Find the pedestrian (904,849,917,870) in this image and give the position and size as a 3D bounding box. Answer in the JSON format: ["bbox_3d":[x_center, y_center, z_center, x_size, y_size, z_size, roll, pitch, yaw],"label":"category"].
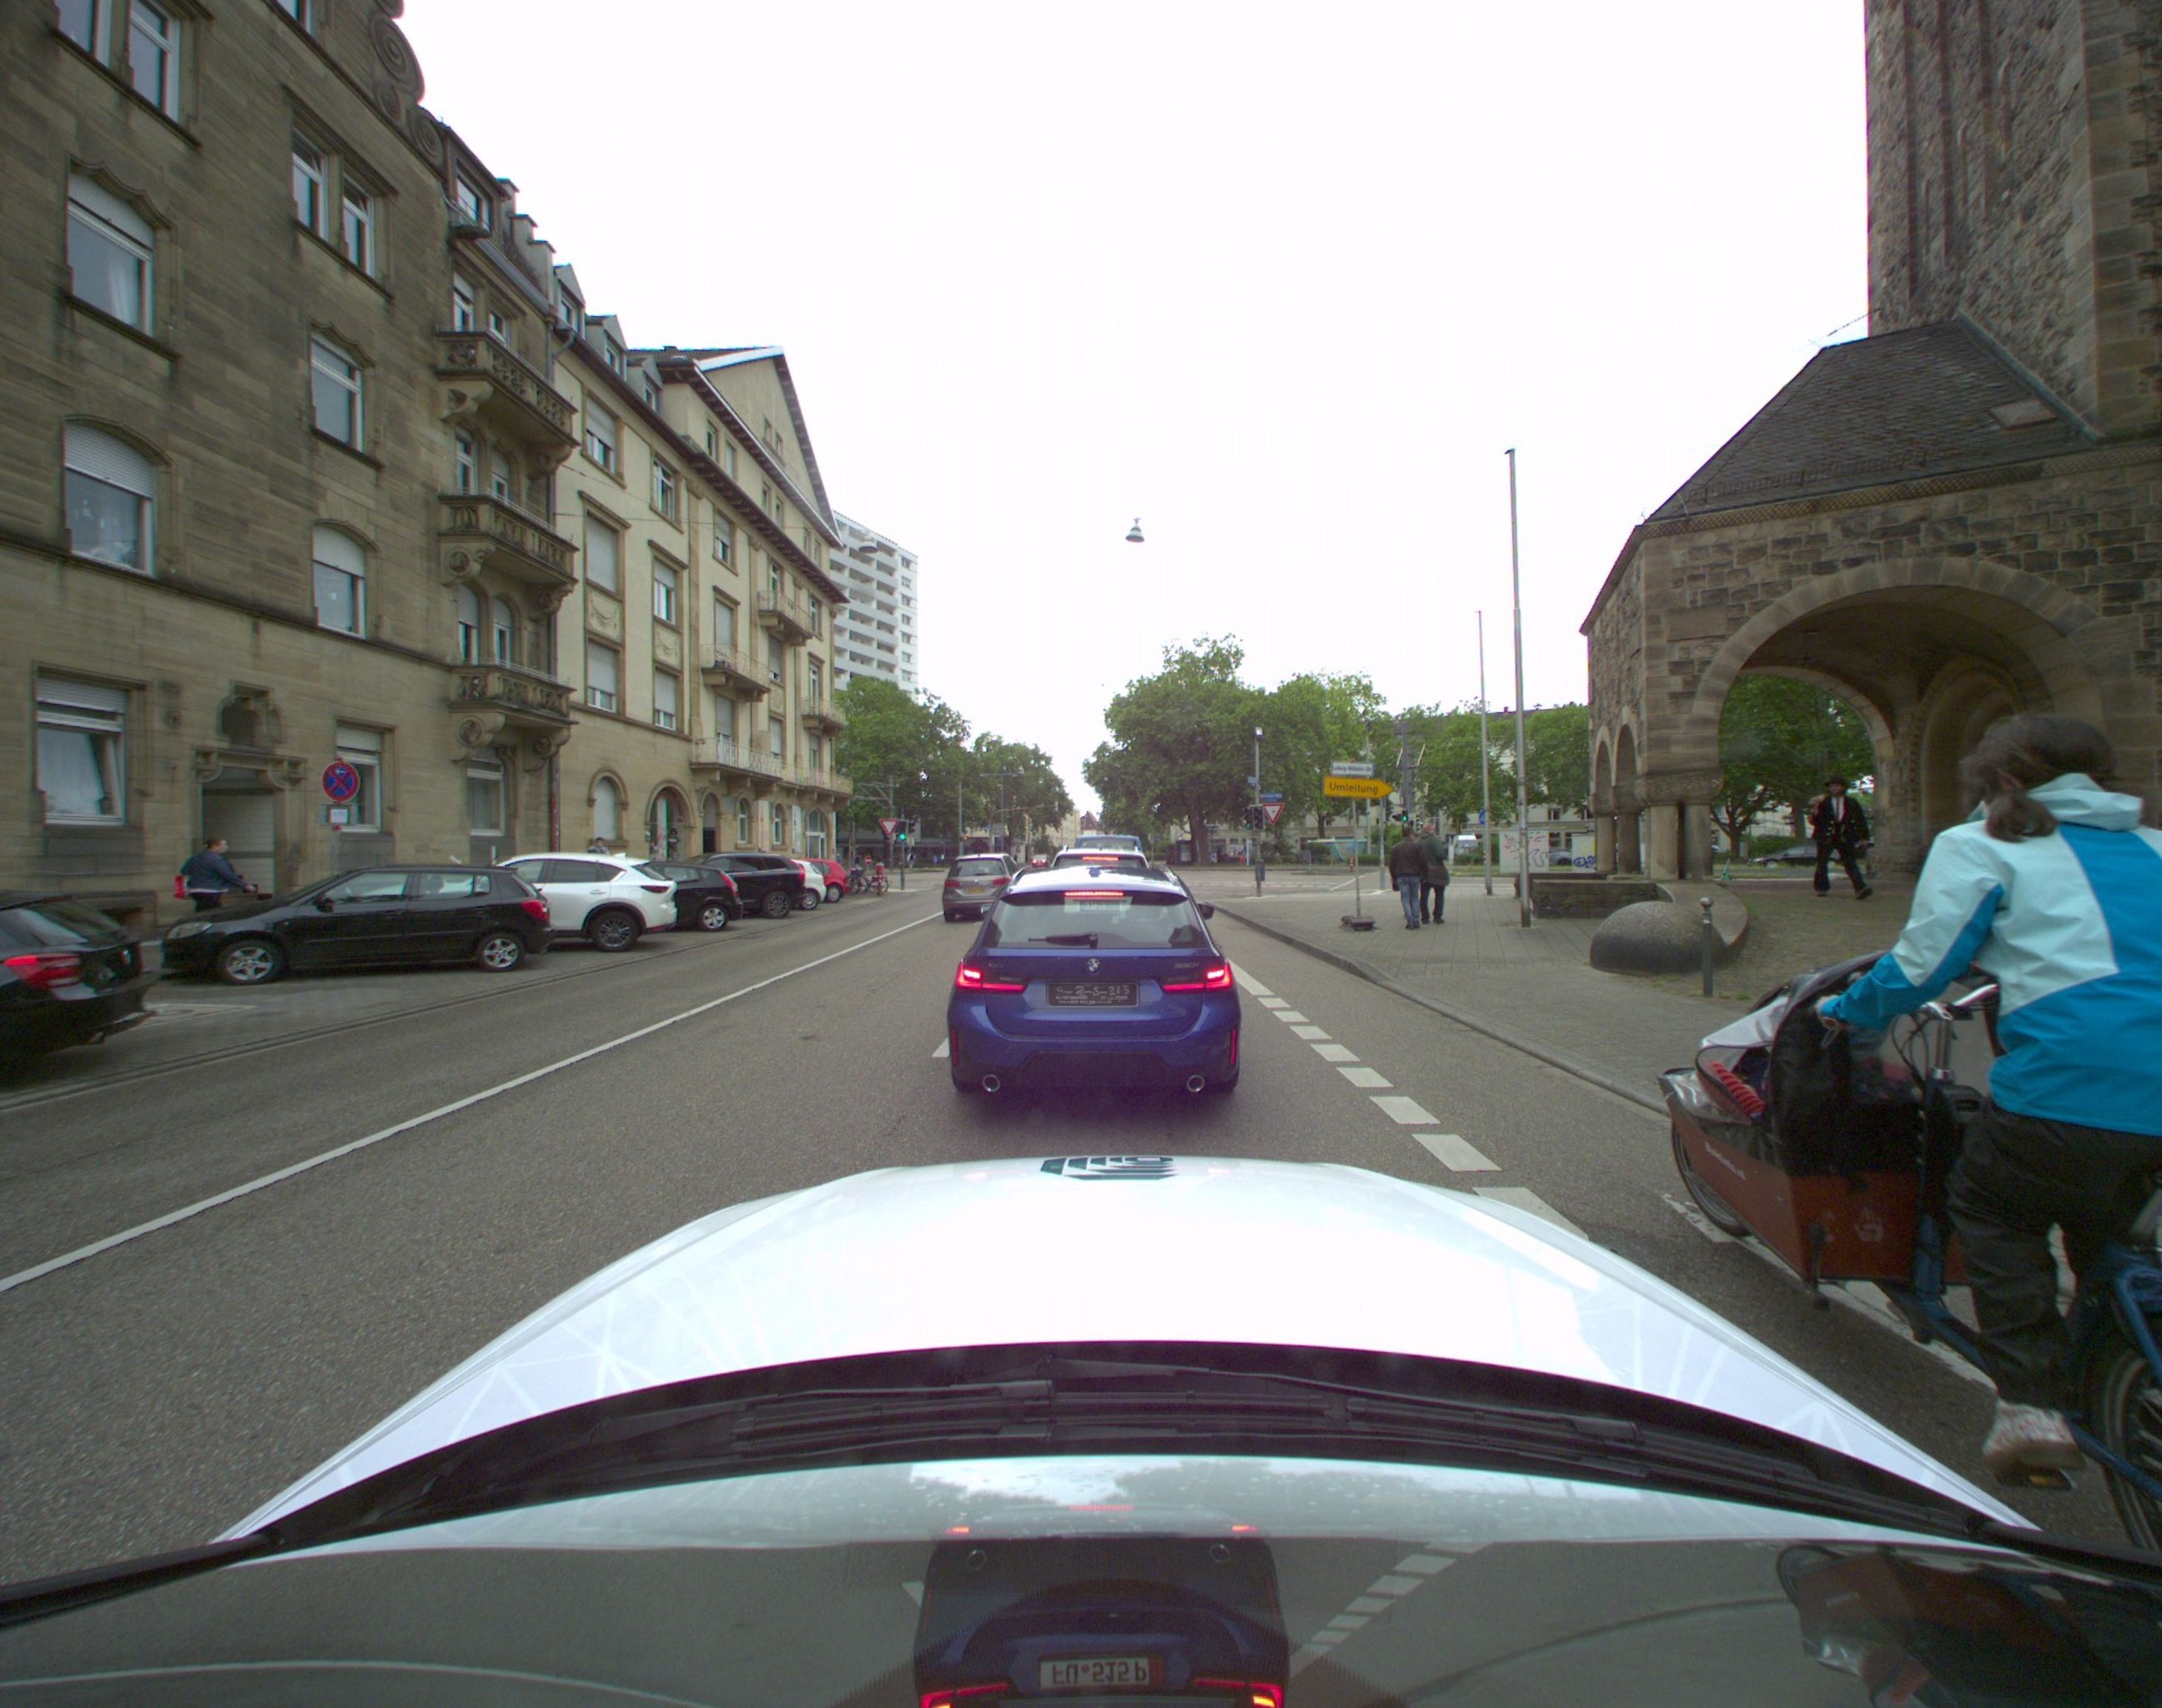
[{"bbox_3d":[-14.457,0.470,69.032,0.668,1.771,0.730,-1,0,43],"label":"pedestrian"}]

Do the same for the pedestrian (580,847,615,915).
[{"bbox_3d":[-12.926,0.709,21.791,0.564,1.785,0.551,-1,0,3],"label":"pedestrian"}]

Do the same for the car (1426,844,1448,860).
[{"bbox_3d":[35.191,-0.215,80.514,1.649,1.515,3.962,-1,0,28],"label":"car"}]

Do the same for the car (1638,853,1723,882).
[{"bbox_3d":[36.581,0.806,49.780,3.901,1.711,1.697,-1,0,24],"label":"car"}]

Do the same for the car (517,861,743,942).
[{"bbox_3d":[-9.462,0.912,17.195,4.017,1.494,1.713,0,0,-36],"label":"car"}]

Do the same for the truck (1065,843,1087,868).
[{"bbox_3d":[-0.471,0.131,81.270,2.068,2.408,5.461,-2,0,0],"label":"truck"}]

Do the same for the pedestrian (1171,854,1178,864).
[{"bbox_3d":[11.808,0.658,102.994,0.850,1.314,0.763,-1,0,1],"label":"pedestrian"}]

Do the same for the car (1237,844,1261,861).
[{"bbox_3d":[22.115,-0.200,107.085,2.154,2.200,4.024,-1,0,26],"label":"car"}]

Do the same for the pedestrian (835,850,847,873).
[{"bbox_3d":[-18.677,0.557,63.370,0.672,1.771,0.726,-1,0,1],"label":"pedestrian"}]

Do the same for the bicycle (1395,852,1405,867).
[{"bbox_3d":[22.987,0.386,58.609,0.546,0.995,2.072,-1,0,24],"label":"bicycle"}]

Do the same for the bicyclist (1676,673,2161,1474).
[{"bbox_3d":[2.201,0.411,2.059,0.682,1.517,1.060,-1,0,7],"label":"bicyclist"}]

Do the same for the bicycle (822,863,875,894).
[{"bbox_3d":[-9.165,0.966,32.172,1.880,1.035,0.442,5,0,-1],"label":"bicycle"}]

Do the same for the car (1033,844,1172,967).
[{"bbox_3d":[0.348,0.678,12.815,1.808,1.592,4.002,-1,0,2],"label":"car"}]

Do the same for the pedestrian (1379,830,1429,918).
[{"bbox_3d":[6.391,0.379,16.143,0.629,1.673,0.971,-3,0,8],"label":"pedestrian"}]

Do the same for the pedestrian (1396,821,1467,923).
[{"bbox_3d":[6.371,0.309,14.843,0.801,1.758,0.969,-3,0,1],"label":"pedestrian"}]

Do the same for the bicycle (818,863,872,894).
[{"bbox_3d":[-9.149,0.949,31.535,1.880,1.035,0.442,5,0,-1],"label":"bicycle"}]

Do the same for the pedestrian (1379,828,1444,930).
[{"bbox_3d":[5.733,0.423,14.155,0.672,1.686,0.969,-3,0,2],"label":"pedestrian"}]

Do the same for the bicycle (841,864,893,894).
[{"bbox_3d":[-8.586,0.994,32.706,1.880,1.035,0.442,5,0,-1],"label":"bicycle"}]

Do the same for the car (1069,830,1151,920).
[{"bbox_3d":[0.726,0.472,20.346,1.808,2.005,4.002,-1,0,2],"label":"car"}]

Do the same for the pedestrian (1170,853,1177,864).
[{"bbox_3d":[11.849,0.620,103.941,0.814,1.372,0.763,-1,0,1],"label":"pedestrian"}]

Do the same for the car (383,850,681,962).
[{"bbox_3d":[-9.279,0.798,14.209,4.004,1.723,1.827,0,0,-23],"label":"car"}]

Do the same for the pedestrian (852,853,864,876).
[{"bbox_3d":[-17.565,0.827,64.133,0.672,1.771,0.726,-1,0,1],"label":"pedestrian"}]

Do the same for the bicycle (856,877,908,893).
[{"bbox_3d":[-8.222,1.284,33.737,1.880,0.445,1.029,5,2,-1],"label":"bicycle"}]

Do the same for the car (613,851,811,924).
[{"bbox_3d":[-9.216,0.770,20.542,4.248,1.651,1.711,0,0,-41],"label":"car"}]

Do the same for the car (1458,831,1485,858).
[{"bbox_3d":[39.187,-0.963,81.710,2.214,2.639,5.480,-1,0,28],"label":"car"}]

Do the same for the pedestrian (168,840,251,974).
[{"bbox_3d":[-13.062,0.776,12.221,0.616,1.958,0.551,-1,0,2],"label":"pedestrian"}]

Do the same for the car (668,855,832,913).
[{"bbox_3d":[-9.364,0.823,23.219,4.021,1.472,1.546,2,0,-41],"label":"car"}]

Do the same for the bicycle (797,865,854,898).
[{"bbox_3d":[-9.269,0.989,29.523,1.877,1.035,0.443,4,0,4],"label":"bicycle"}]

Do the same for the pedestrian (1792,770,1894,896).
[{"bbox_3d":[11.498,-0.318,12.328,0.806,1.808,1.026,-1,2,22],"label":"pedestrian"}]

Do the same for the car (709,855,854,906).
[{"bbox_3d":[-9.497,0.808,26.050,1.663,1.472,4.024,1,0,43],"label":"car"}]

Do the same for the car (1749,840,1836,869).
[{"bbox_3d":[40.866,0.024,46.878,3.425,1.561,1.697,-1,0,24],"label":"car"}]

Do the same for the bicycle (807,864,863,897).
[{"bbox_3d":[-9.154,0.988,30.337,1.880,1.035,0.442,5,0,-1],"label":"bicycle"}]

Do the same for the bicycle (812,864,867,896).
[{"bbox_3d":[-9.151,0.970,30.873,1.880,1.035,0.442,5,0,-1],"label":"bicycle"}]

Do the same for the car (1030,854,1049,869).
[{"bbox_3d":[-4.220,0.772,83.320,1.643,1.447,3.512,-1,0,2],"label":"car"}]

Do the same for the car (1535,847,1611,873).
[{"bbox_3d":[31.316,0.377,51.930,3.940,1.561,1.697,-1,0,24],"label":"car"}]

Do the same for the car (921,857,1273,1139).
[{"bbox_3d":[0.149,0.762,6.408,1.808,1.405,4.322,-1,0,2],"label":"car"}]

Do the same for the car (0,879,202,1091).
[{"bbox_3d":[-9.096,0.910,5.481,4.016,1.417,1.644,1,-1,-34],"label":"car"}]

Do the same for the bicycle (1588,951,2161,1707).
[{"bbox_3d":[2.156,0.944,2.201,0.491,1.098,2.143,-1,0,8],"label":"bicycle"}]

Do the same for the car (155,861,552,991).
[{"bbox_3d":[-9.629,0.869,11.209,3.830,1.497,1.552,1,-1,-37],"label":"car"}]

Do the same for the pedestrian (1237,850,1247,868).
[{"bbox_3d":[15.503,0.450,78.282,0.781,1.743,0.925,-1,0,0],"label":"pedestrian"}]

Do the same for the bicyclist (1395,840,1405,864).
[{"bbox_3d":[22.928,-0.144,58.524,0.608,1.654,0.758,-1,0,23],"label":"bicyclist"}]

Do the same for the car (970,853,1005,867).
[{"bbox_3d":[-12.079,0.797,105.286,4.014,1.706,1.980,0,-1,-32],"label":"car"}]

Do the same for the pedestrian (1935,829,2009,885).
[{"bbox_3d":[15.507,0.047,14.189,0.665,0.951,0.618,-1,0,24],"label":"pedestrian"}]

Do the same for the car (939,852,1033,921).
[{"bbox_3d":[-2.268,0.736,20.362,1.726,1.525,4.002,-1,0,2],"label":"car"}]
